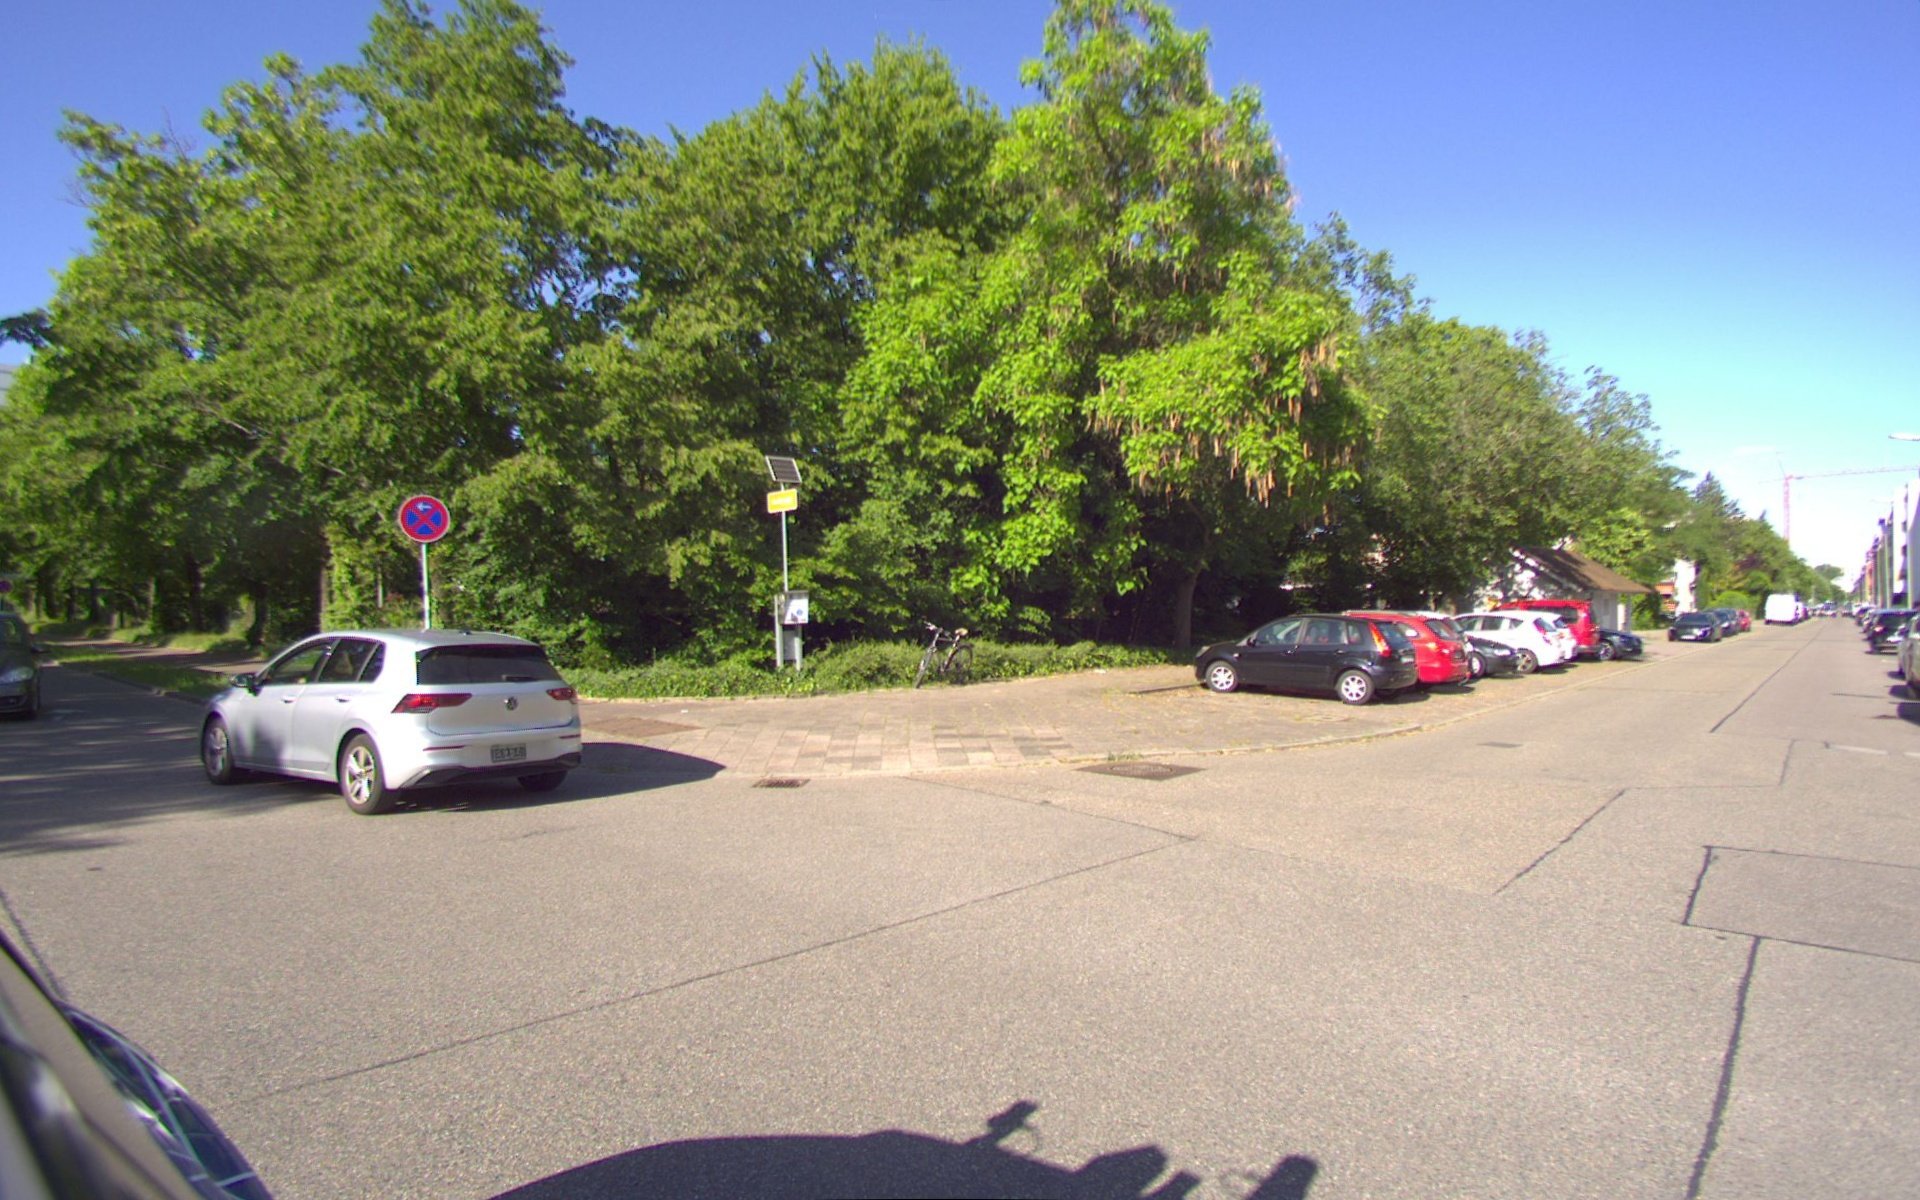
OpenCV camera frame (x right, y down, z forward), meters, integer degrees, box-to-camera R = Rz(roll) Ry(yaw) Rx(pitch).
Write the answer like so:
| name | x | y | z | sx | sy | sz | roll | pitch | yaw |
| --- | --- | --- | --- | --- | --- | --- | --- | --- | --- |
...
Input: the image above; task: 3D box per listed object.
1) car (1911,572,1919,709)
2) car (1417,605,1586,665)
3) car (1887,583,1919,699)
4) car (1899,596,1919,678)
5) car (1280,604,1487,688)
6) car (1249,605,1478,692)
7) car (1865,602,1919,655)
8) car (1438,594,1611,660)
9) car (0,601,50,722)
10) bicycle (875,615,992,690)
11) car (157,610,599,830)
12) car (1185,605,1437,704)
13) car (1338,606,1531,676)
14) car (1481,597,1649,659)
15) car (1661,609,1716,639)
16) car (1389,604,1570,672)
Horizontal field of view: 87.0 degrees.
| name | x | y | z | sx | sy | sz | roll | pitch | yaw |
| --- | --- | --- | --- | --- | --- | --- | --- | --- | --- |
| car | 14.785 | 0.615 | 14.109 | 2.068 | 1.984 | 4.403 | -2 | -2 | 42 |
| car | 15.014 | 0.921 | 28.185 | 3.884 | 1.498 | 1.652 | 1 | 0 | 41 |
| car | 18.409 | 0.711 | 18.537 | 1.938 | 2.013 | 3.942 | -1 | -1 | 44 |
| car | 22.825 | 0.809 | 23.051 | 1.921 | 1.796 | 4.040 | -1 | -1 | 41 |
| car | 9.270 | 0.935 | 22.299 | 3.884 | 1.615 | 1.652 | 1 | 0 | 41 |
| car | 7.884 | 0.877 | 19.955 | 3.884 | 1.498 | 1.652 | 1 | 0 | 41 |
| car | 33.502 | 0.992 | 35.897 | 1.999 | 1.796 | 3.945 | -1 | -1 | 41 |
| car | 17.106 | 0.763 | 30.789 | 4.353 | 1.821 | 1.652 | 1 | 0 | 41 |
| car | -14.808 | 0.871 | 14.915 | 1.826 | 1.657 | 3.763 | 0 | -1 | -38 |
| bicycle | -0.431 | 0.859 | 17.211 | 1.875 | 1.161 | 0.762 | 0 | 2 | -38 |
| car | -5.284 | 0.888 | 9.032 | 4.176 | 1.478 | 1.648 | 1 | -1 | 33 |
| car | 6.126 | 0.872 | 17.918 | 3.885 | 1.498 | 1.652 | 1 | 0 | 42 |
| car | 11.318 | 0.918 | 24.272 | 3.884 | 1.498 | 1.652 | 1 | 0 | 41 |
| car | 19.096 | 0.842 | 32.048 | 4.353 | 1.784 | 1.652 | 1 | 0 | 41 |
| car | 35.481 | 1.153 | 49.264 | 1.769 | 1.430 | 3.846 | -1 | -1 | 42 |
| car | 13.382 | 0.923 | 26.176 | 3.884 | 1.569 | 1.652 | 1 | 0 | 41 |
